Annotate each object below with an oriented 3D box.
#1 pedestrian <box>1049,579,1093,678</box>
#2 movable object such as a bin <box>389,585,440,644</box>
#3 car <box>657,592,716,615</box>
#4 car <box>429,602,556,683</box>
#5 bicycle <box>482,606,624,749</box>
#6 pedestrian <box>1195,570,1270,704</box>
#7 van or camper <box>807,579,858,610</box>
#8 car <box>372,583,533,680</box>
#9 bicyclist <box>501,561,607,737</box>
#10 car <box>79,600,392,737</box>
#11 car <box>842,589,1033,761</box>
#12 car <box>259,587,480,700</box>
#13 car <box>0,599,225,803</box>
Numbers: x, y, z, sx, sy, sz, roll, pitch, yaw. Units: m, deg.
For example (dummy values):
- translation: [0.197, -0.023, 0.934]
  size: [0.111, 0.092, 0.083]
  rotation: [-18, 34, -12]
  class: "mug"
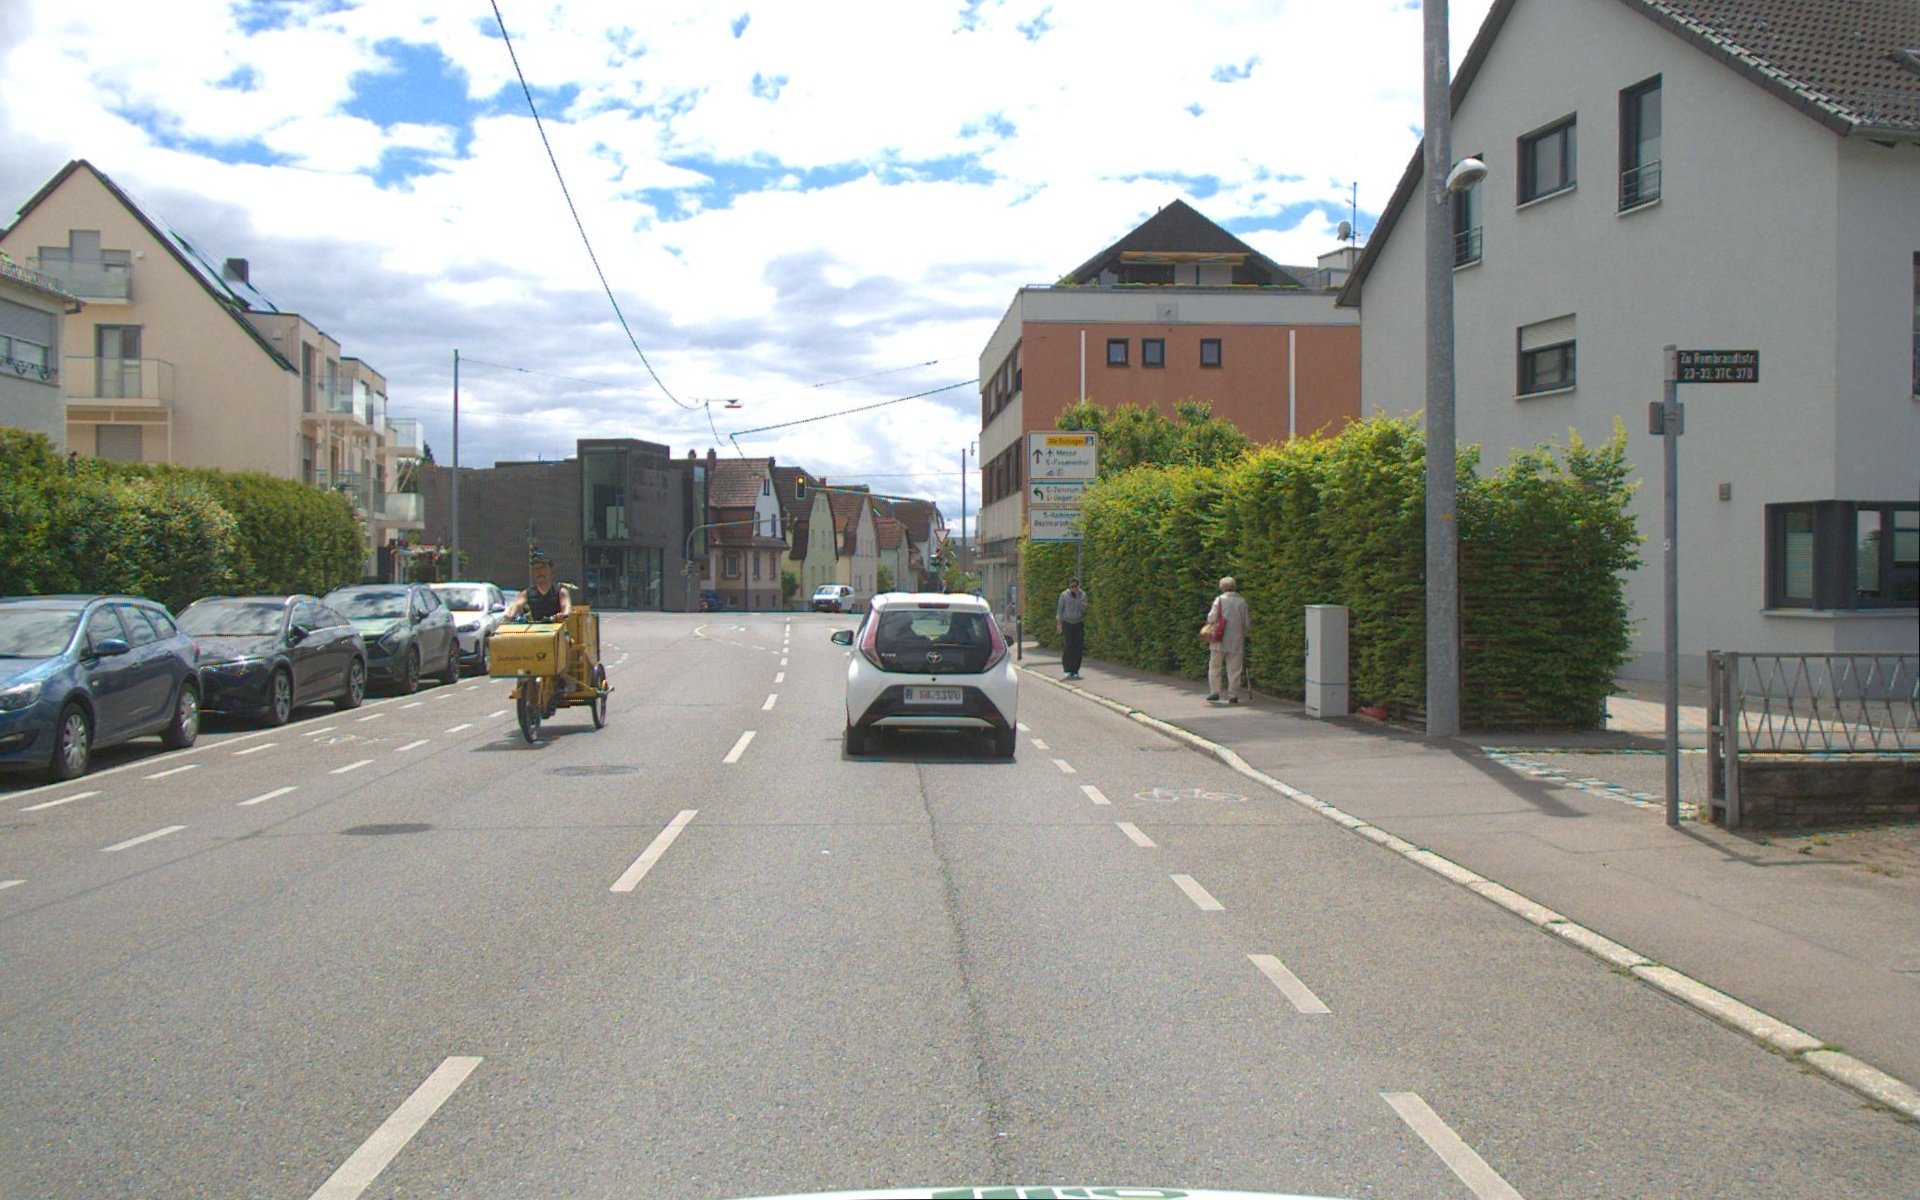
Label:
- translation: [1.869, 0.469, 27.915]
  size: [0.590, 1.633, 0.836]
  rotation: [-2, 0, -4]
  class: "pedestrian"
- translation: [-14.271, 0.367, 43.287]
  size: [1.045, 1.508, 1.212]
  rotation: [0, 0, -7]
  class: "movable object such as a bin"
- translation: [-18.421, 0.259, 111.458]
  size: [3.538, 1.444, 1.692]
  rotation: [2, 0, 6]
  class: "car"
- translation: [-10.179, 0.870, 36.310]
  size: [1.955, 1.615, 4.483]
  rotation: [0, 0, -6]
  class: "car"
- translation: [-4.151, 0.745, 17.115]
  size: [0.846, 1.324, 2.661]
  rotation: [0, 0, -1]
  class: "bicycle"
- translation: [3.450, 0.455, 20.984]
  size: [0.783, 1.645, 0.653]
  rotation: [-2, 0, -4]
  class: "pedestrian"
- translation: [-8.386, -0.323, 109.382]
  size: [2.070, 1.959, 5.290]
  rotation: [2, 0, 10]
  class: "van or camper"
- translation: [-9.437, 0.535, 31.129]
  size: [1.954, 1.679, 4.513]
  rotation: [0, 0, -5]
  class: "car"
- translation: [-4.163, 0.480, 17.041]
  size: [0.776, 1.743, 1.208]
  rotation: [0, 0, 0]
  class: "bicyclist"
- translation: [-8.666, 0.742, 20.299]
  size: [1.954, 1.433, 4.687]
  rotation: [0, 0, -3]
  class: "car"
- translation: [-0.295, 0.665, 16.309]
  size: [1.663, 1.482, 3.296]
  rotation: [1, 0, -4]
  class: "car"
- translation: [-9.105, 0.604, 25.941]
  size: [1.954, 1.591, 4.687]
  rotation: [0, 0, -3]
  class: "car"
- translation: [-8.195, 0.773, 14.723]
  size: [1.744, 1.517, 4.559]
  rotation: [0, 0, -7]
  class: "car"
